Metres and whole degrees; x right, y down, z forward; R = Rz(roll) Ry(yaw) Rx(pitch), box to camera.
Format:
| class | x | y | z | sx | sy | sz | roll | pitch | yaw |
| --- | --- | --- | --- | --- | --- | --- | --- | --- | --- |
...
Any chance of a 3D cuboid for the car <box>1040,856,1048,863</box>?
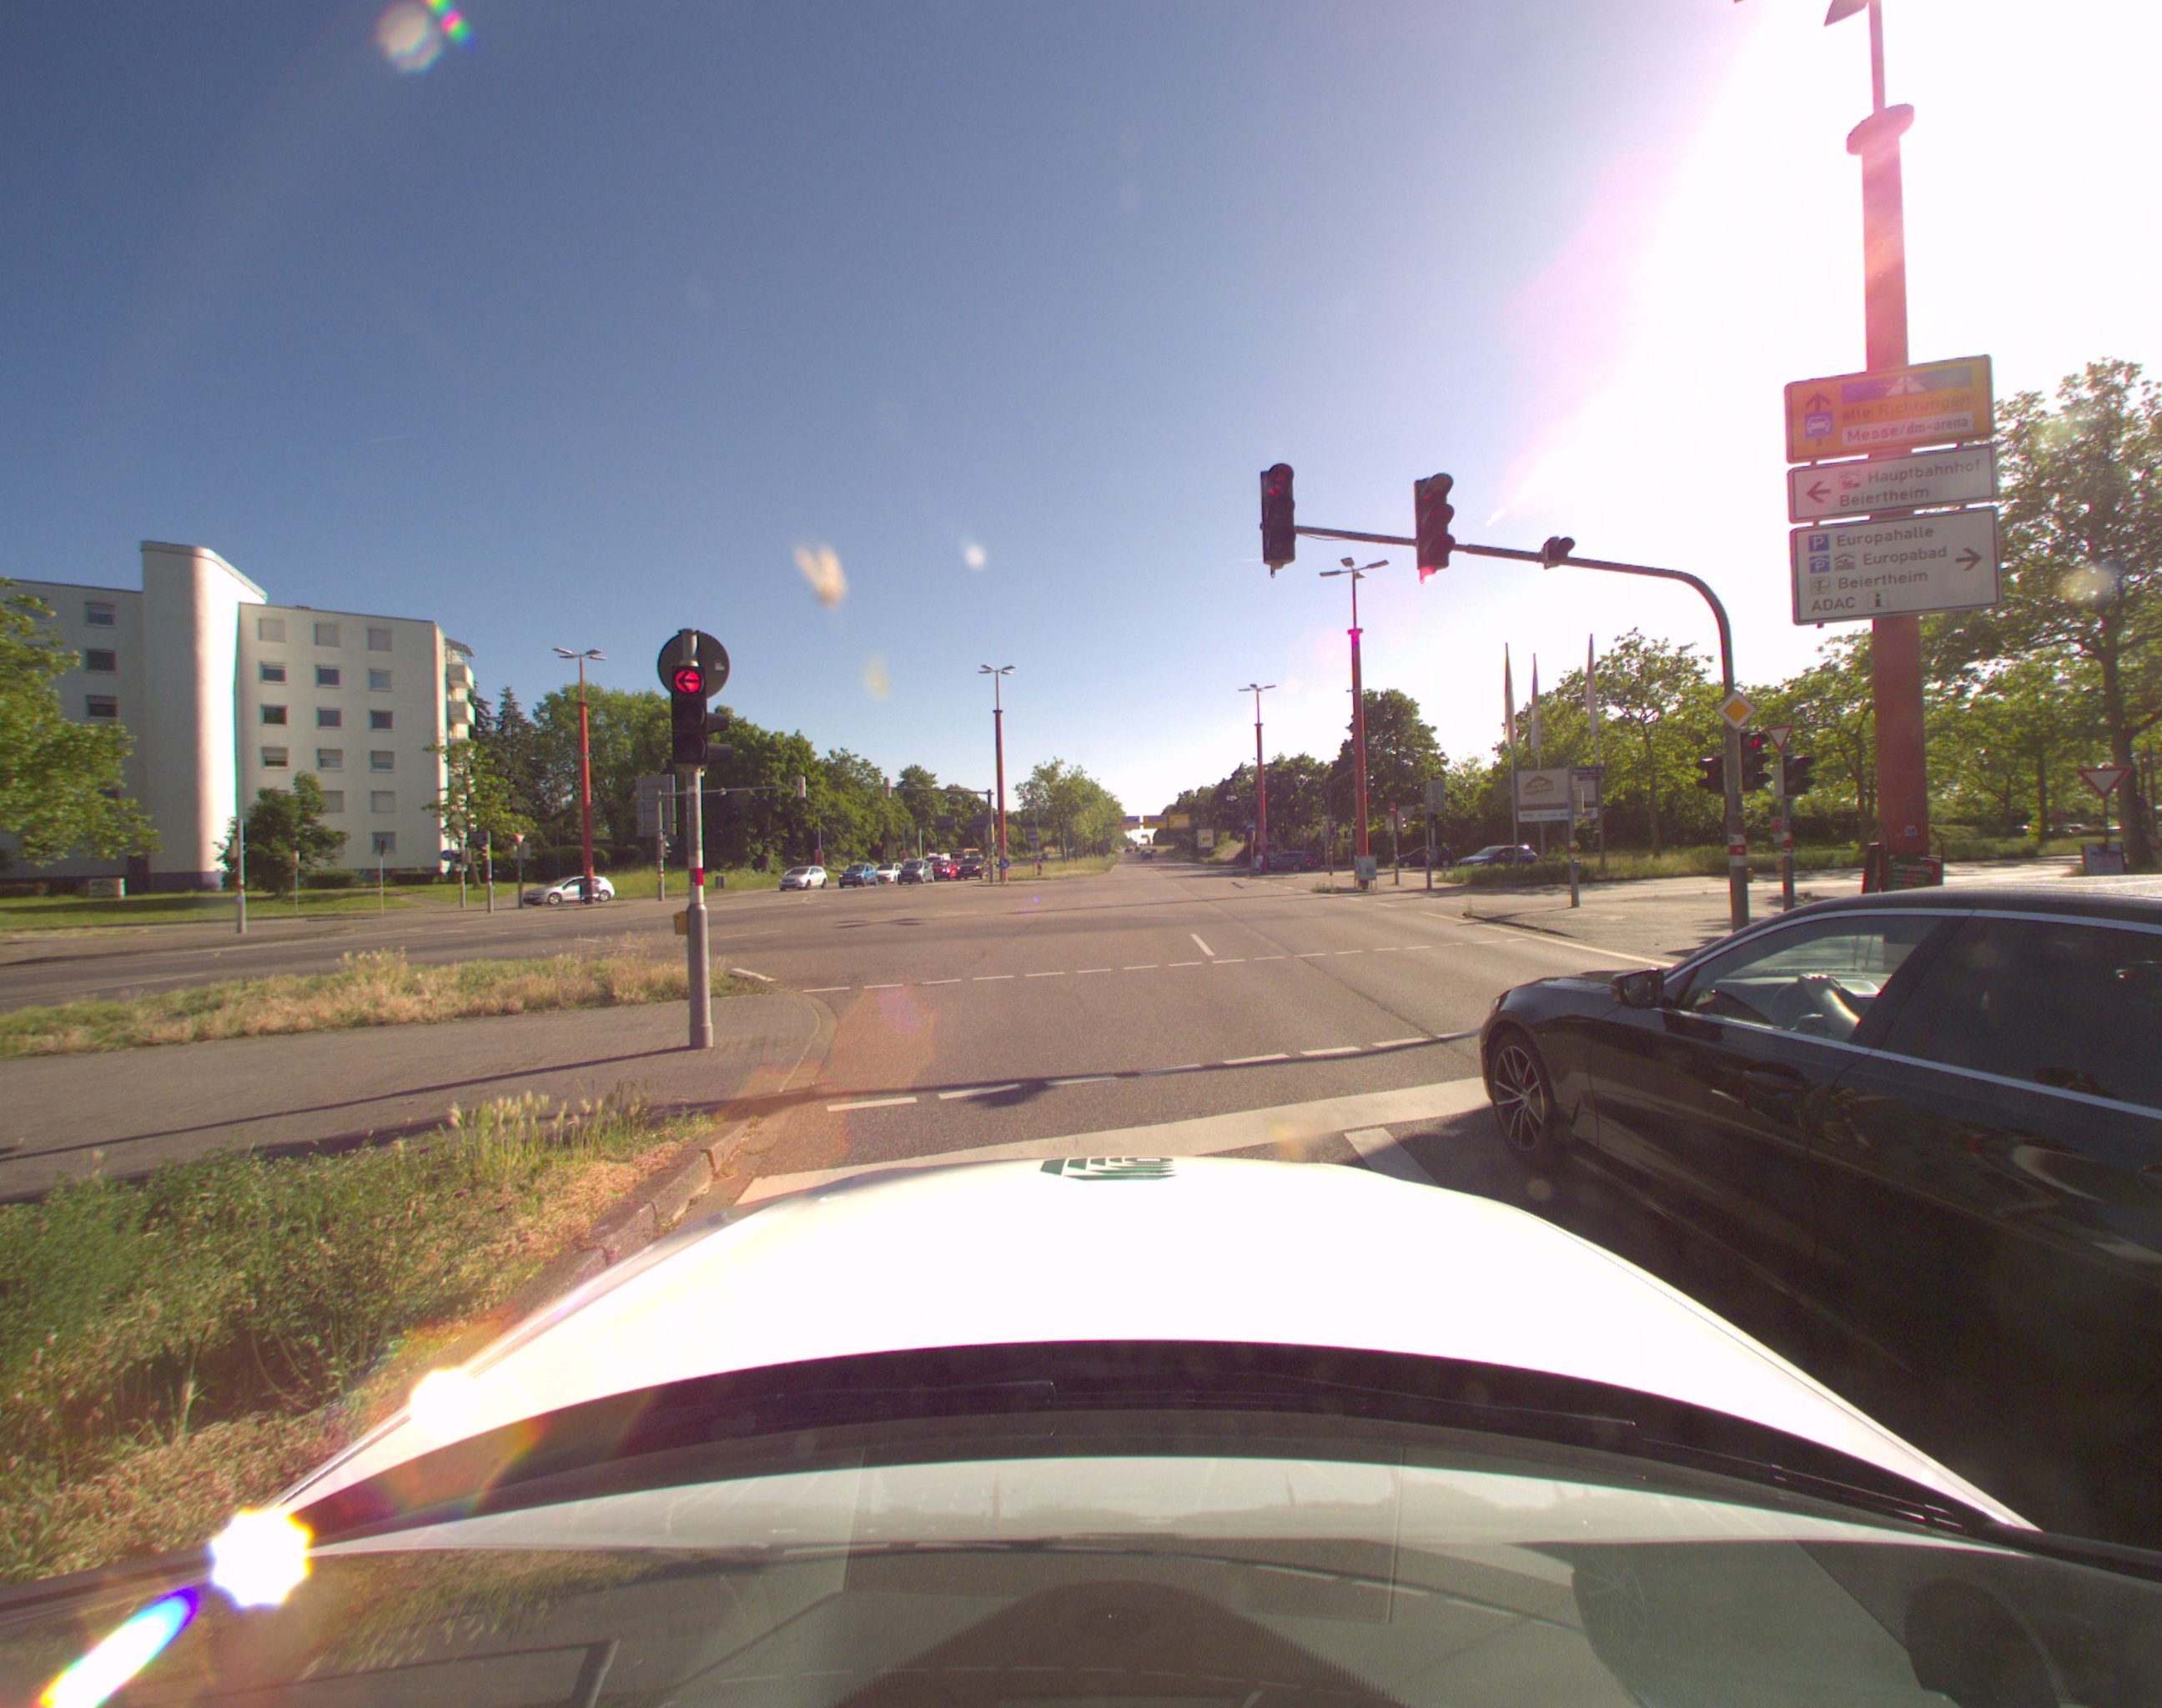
| class | x | y | z | sx | sy | sz | roll | pitch | yaw |
| --- | --- | --- | --- | --- | --- | --- | --- | --- | --- |
| car | -9.390 | 1.356 | 205.113 | 1.872 | 1.573 | 4.117 | -2 | 0 | -2 |

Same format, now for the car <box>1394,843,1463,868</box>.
| class | x | y | z | sx | sy | sz | roll | pitch | yaw |
| --- | --- | --- | --- | --- | --- | --- | --- | --- | --- |
| car | 23.573 | 0.093 | 55.424 | 4.230 | 1.573 | 2.177 | -2 | 0 | 21 |

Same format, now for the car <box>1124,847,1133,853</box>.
| class | x | y | z | sx | sy | sz | roll | pitch | yaw |
| --- | --- | --- | --- | --- | --- | --- | --- | --- | --- |
| car | 14.581 | -1.233 | 249.879 | 2.241 | 1.573 | 4.276 | -2 | 0 | -3 |

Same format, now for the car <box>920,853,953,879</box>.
| class | x | y | z | sx | sy | sz | roll | pitch | yaw |
| --- | --- | --- | --- | --- | --- | --- | --- | --- | --- |
| car | -12.733 | 1.057 | 71.985 | 2.055 | 2.193 | 4.377 | -2 | 0 | 0 |

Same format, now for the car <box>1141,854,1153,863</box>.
| class | x | y | z | sx | sy | sz | roll | pitch | yaw |
| --- | --- | --- | --- | --- | --- | --- | --- | --- | --- |
| car | 12.841 | 0.829 | 158.456 | 2.149 | 1.573 | 4.285 | -2 | 0 | 4 |

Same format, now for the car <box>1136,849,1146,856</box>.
| class | x | y | z | sx | sy | sz | roll | pitch | yaw |
| --- | --- | --- | --- | --- | --- | --- | --- | --- | --- |
| car | 14.872 | -0.297 | 201.828 | 2.153 | 1.573 | 4.277 | -2 | 0 | -2 |

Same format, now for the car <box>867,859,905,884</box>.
| class | x | y | z | sx | sy | sz | roll | pitch | yaw |
| --- | --- | --- | --- | --- | --- | --- | --- | --- | --- |
| car | -13.737 | 1.219 | 57.522 | 1.991 | 1.573 | 4.112 | -3 | 0 | -6 |

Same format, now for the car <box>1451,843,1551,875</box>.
| class | x | y | z | sx | sy | sz | roll | pitch | yaw |
| --- | --- | --- | --- | --- | --- | --- | --- | --- | --- |
| car | 20.745 | 0.236 | 40.256 | 4.276 | 1.428 | 1.874 | -2 | 0 | -16 |

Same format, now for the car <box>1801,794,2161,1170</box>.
| class | x | y | z | sx | sy | sz | roll | pitch | yaw |
| --- | --- | --- | --- | --- | --- | --- | --- | --- | --- |
| car | 5.802 | 0.561 | 3.261 | 1.959 | 1.686 | 4.479 | -1 | 0 | 2 |

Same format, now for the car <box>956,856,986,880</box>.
| class | x | y | z | sx | sy | sz | roll | pitch | yaw |
| --- | --- | --- | --- | --- | --- | --- | --- | --- | --- |
| car | -7.564 | 0.942 | 56.489 | 1.874 | 1.573 | 4.112 | -2 | 0 | -6 |

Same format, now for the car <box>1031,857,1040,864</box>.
| class | x | y | z | sx | sy | sz | roll | pitch | yaw |
| --- | --- | --- | --- | --- | --- | --- | --- | --- | --- |
| car | -9.995 | 1.440 | 180.752 | 1.872 | 1.573 | 3.943 | -2 | 0 | -2 |

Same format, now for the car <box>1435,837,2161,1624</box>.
| class | x | y | z | sx | sy | sz | roll | pitch | yaw |
| --- | --- | --- | --- | --- | --- | --- | --- | --- | --- |
| car | 2.955 | 0.666 | 2.372 | 1.986 | 1.394 | 4.479 | -2 | 0 | 2 |

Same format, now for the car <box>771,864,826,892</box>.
| class | x | y | z | sx | sy | sz | roll | pitch | yaw |
| --- | --- | --- | --- | --- | --- | --- | --- | --- | --- |
| car | -17.692 | 1.470 | 51.180 | 1.987 | 1.573 | 4.120 | -2 | 0 | 0 |

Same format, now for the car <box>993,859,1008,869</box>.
| class | x | y | z | sx | sy | sz | roll | pitch | yaw |
| --- | --- | --- | --- | --- | --- | --- | --- | --- | --- |
| car | -12.428 | 1.575 | 126.218 | 1.814 | 1.454 | 3.658 | -2 | 0 | 2 |

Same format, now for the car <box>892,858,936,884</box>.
| class | x | y | z | sx | sy | sz | roll | pitch | yaw |
| --- | --- | --- | --- | --- | --- | --- | --- | --- | --- |
| car | -10.731 | 1.049 | 52.579 | 1.988 | 1.573 | 4.119 | -2 | 0 | -1 |

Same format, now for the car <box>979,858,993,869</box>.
| class | x | y | z | sx | sy | sz | roll | pitch | yaw |
| --- | --- | --- | --- | --- | --- | --- | --- | --- | --- |
| car | -14.639 | 1.499 | 125.788 | 1.872 | 1.573 | 4.117 | -2 | 0 | -2 |

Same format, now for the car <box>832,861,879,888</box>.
| class | x | y | z | sx | sy | sz | roll | pitch | yaw |
| --- | --- | --- | --- | --- | --- | --- | --- | --- | --- |
| car | -14.235 | 1.287 | 51.640 | 1.989 | 1.573 | 4.116 | -2 | 0 | -3 |

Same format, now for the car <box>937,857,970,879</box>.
| class | x | y | z | sx | sy | sz | roll | pitch | yaw |
| --- | --- | --- | --- | --- | --- | --- | --- | --- | --- |
| car | -10.064 | 1.097 | 64.652 | 1.988 | 1.573 | 4.118 | -2 | 0 | -1 |

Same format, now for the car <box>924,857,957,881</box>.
| class | x | y | z | sx | sy | sz | roll | pitch | yaw |
| --- | --- | --- | --- | --- | --- | --- | --- | --- | --- |
| car | -10.102 | 1.049 | 58.871 | 1.991 | 1.573 | 4.112 | -2 | 0 | -6 |

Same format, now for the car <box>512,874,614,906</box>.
| class | x | y | z | sx | sy | sz | roll | pitch | yaw |
| --- | --- | --- | --- | --- | --- | --- | --- | --- | --- |
| car | -27.521 | 1.889 | 43.380 | 1.777 | 1.452 | 4.246 | -2 | 0 | 26 |

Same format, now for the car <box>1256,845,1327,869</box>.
| class | x | y | z | sx | sy | sz | roll | pitch | yaw |
| --- | --- | --- | --- | --- | --- | --- | --- | --- | --- |
| car | 15.559 | 0.234 | 60.306 | 4.524 | 1.573 | 2.179 | -2 | 0 | 42 |
